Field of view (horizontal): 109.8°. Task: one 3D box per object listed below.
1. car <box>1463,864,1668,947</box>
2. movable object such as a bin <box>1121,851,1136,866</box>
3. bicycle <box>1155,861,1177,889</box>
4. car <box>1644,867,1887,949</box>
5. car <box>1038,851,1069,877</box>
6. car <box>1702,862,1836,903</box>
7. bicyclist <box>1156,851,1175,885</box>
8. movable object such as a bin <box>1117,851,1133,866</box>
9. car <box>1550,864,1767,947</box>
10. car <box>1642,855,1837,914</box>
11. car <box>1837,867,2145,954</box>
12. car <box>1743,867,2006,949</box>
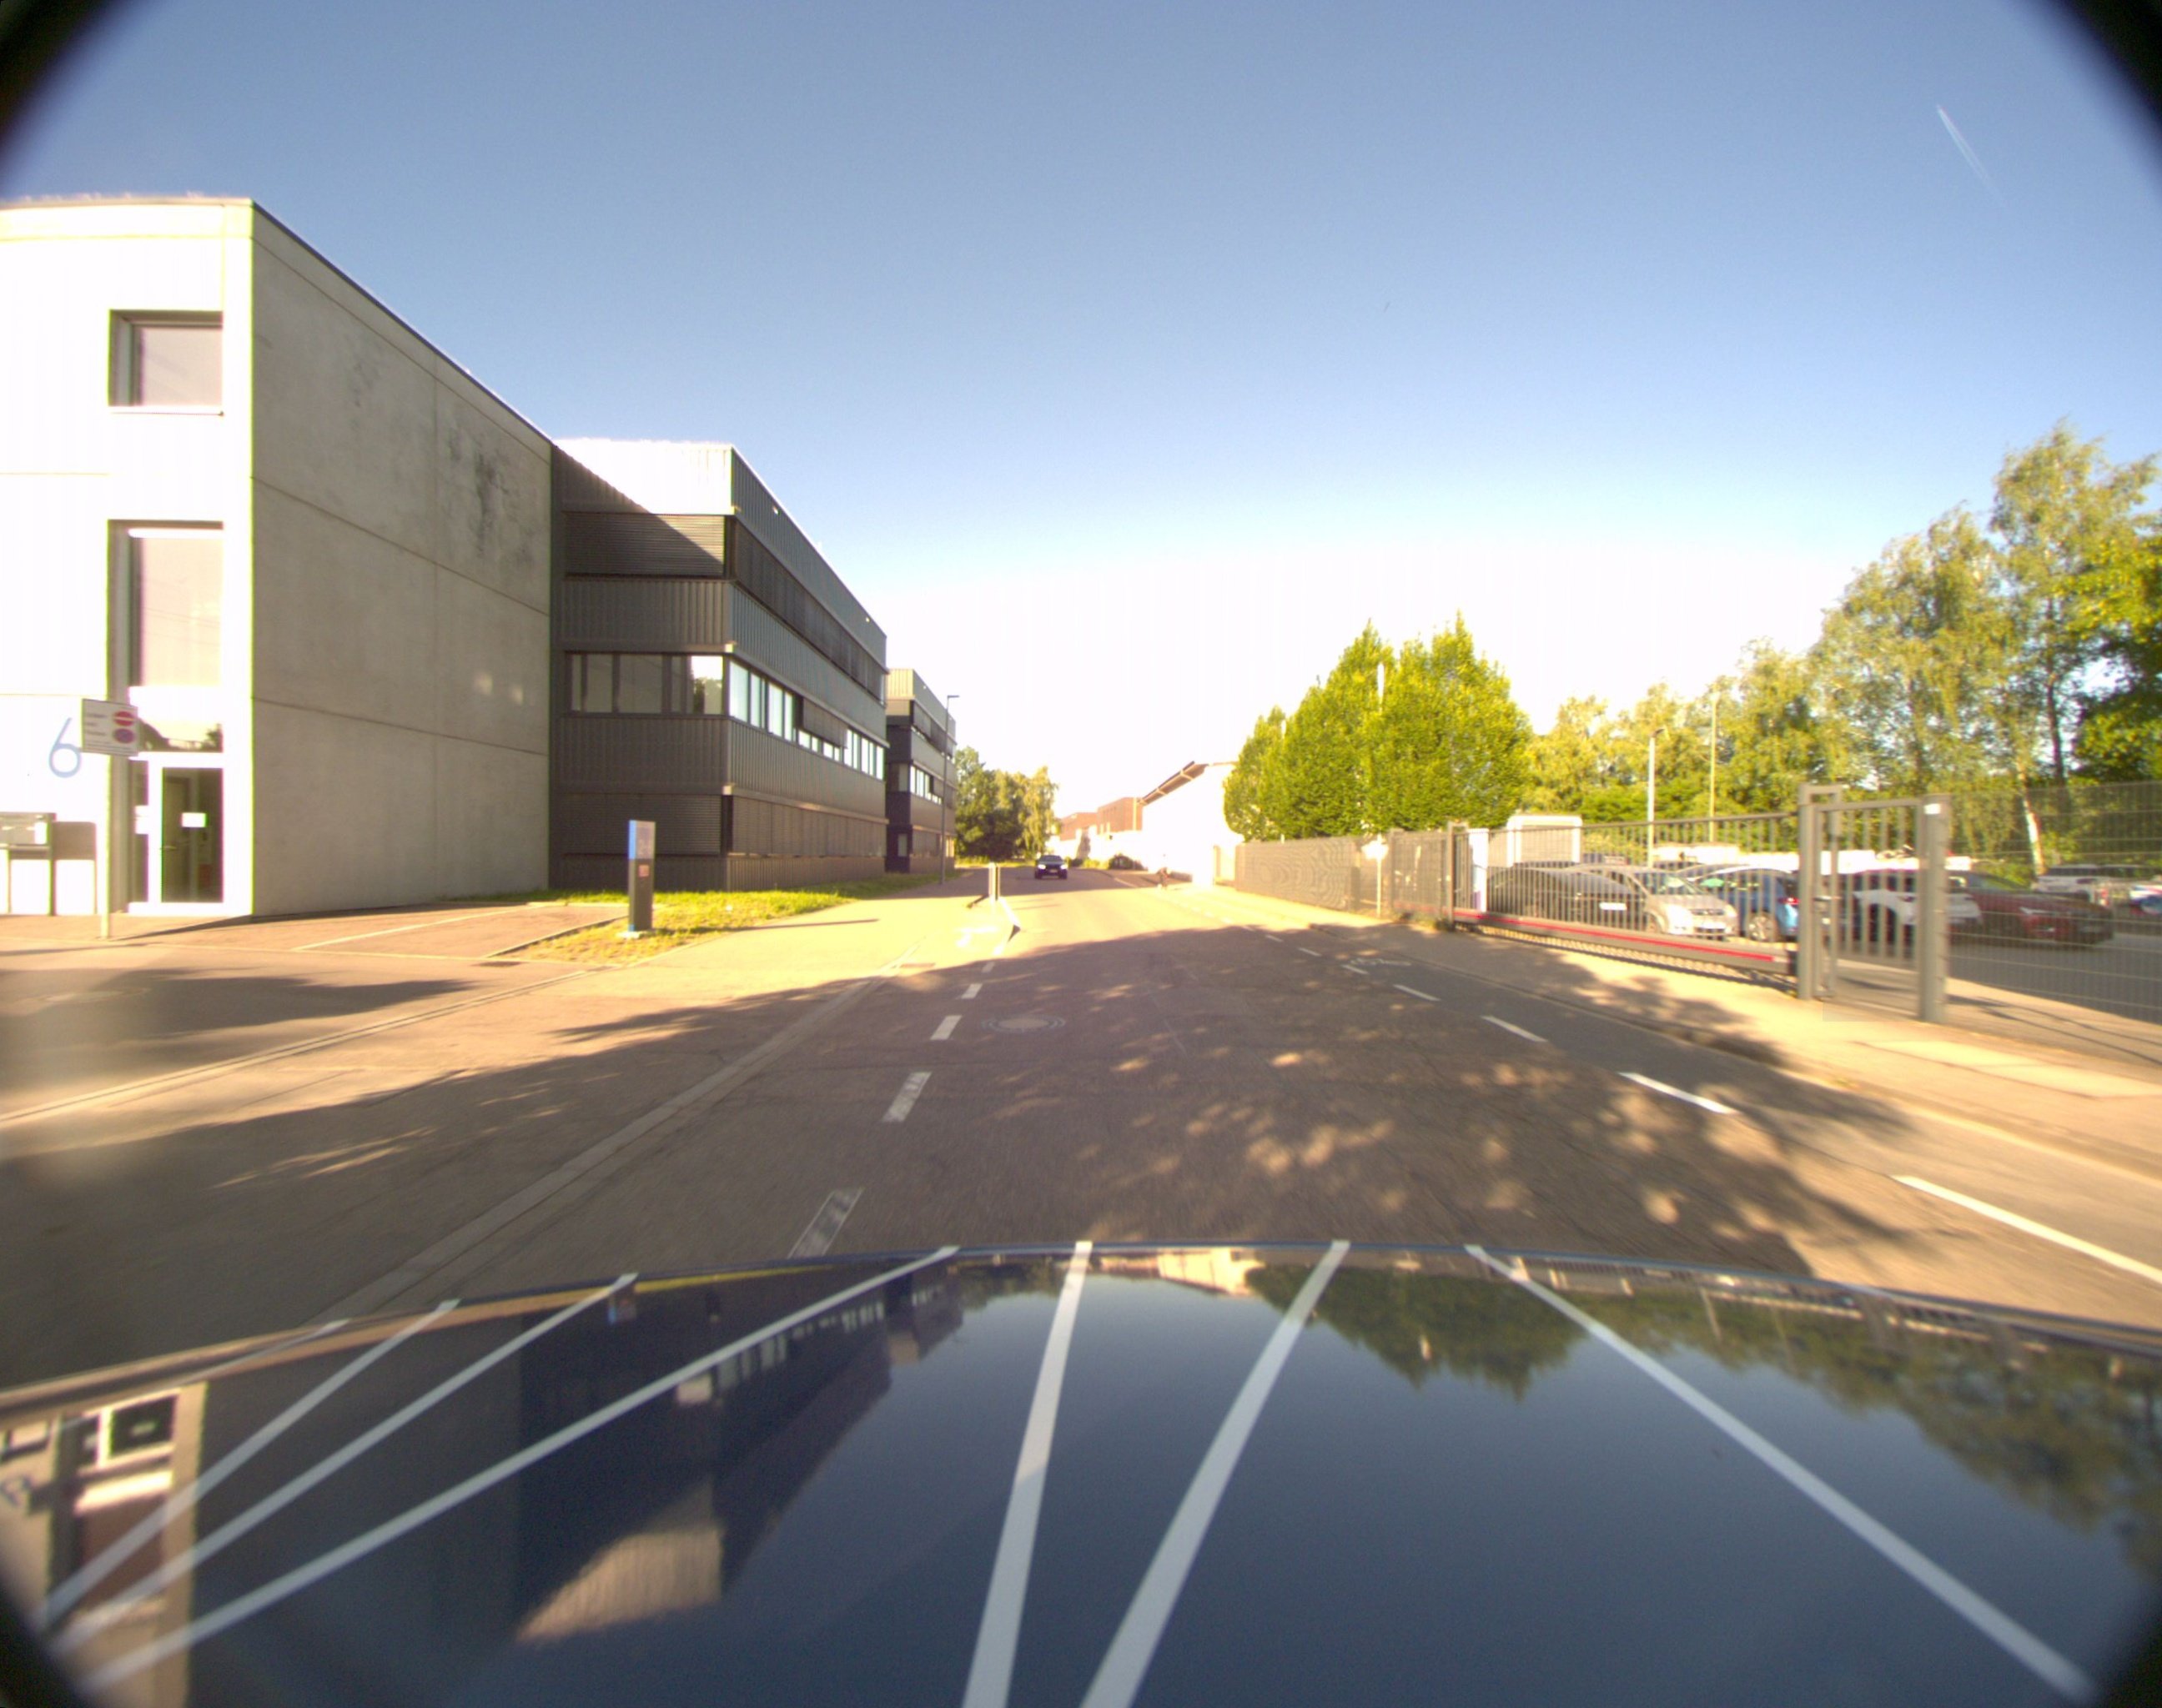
[{"bbox_3d":[10.601,1.049,17.037,1.874,1.531,3.999,2,0,-3],"label":"car"},{"bbox_3d":[4.763,0.469,76.058,1.203,1.463,1.371,0,1,-13],"label":"movable object such as a bin"},{"bbox_3d":[4.098,0.990,36.742,0.669,1.281,2.172,1,0,-3],"label":"bicycle"},{"bbox_3d":[15.609,1.149,17.675,1.874,1.568,3.999,2,0,-3],"label":"car"},{"bbox_3d":[-1.908,0.641,51.932,2.037,1.623,4.611,0,1,-3],"label":"car"},{"bbox_3d":[27.345,1.069,30.400,1.780,1.449,4.000,1,0,2],"label":"car"},{"bbox_3d":[4.072,0.684,36.606,0.748,1.619,0.833,1,1,-3],"label":"bicyclist"},{"bbox_3d":[4.457,0.460,77.408,1.365,1.463,1.287,0,1,-13],"label":"movable object such as a bin"},{"bbox_3d":[13.209,1.095,17.746,1.874,1.597,3.999,2,0,-3],"label":"car"},{"bbox_3d":[19.035,0.864,22.099,3.997,1.531,1.875,2,0,-1],"label":"car"},{"bbox_3d":[20.691,1.188,17.618,1.967,1.640,4.201,2,0,-3],"label":"car"},{"bbox_3d":[18.357,1.167,17.902,1.874,1.582,3.999,2,0,-3],"label":"car"}]
